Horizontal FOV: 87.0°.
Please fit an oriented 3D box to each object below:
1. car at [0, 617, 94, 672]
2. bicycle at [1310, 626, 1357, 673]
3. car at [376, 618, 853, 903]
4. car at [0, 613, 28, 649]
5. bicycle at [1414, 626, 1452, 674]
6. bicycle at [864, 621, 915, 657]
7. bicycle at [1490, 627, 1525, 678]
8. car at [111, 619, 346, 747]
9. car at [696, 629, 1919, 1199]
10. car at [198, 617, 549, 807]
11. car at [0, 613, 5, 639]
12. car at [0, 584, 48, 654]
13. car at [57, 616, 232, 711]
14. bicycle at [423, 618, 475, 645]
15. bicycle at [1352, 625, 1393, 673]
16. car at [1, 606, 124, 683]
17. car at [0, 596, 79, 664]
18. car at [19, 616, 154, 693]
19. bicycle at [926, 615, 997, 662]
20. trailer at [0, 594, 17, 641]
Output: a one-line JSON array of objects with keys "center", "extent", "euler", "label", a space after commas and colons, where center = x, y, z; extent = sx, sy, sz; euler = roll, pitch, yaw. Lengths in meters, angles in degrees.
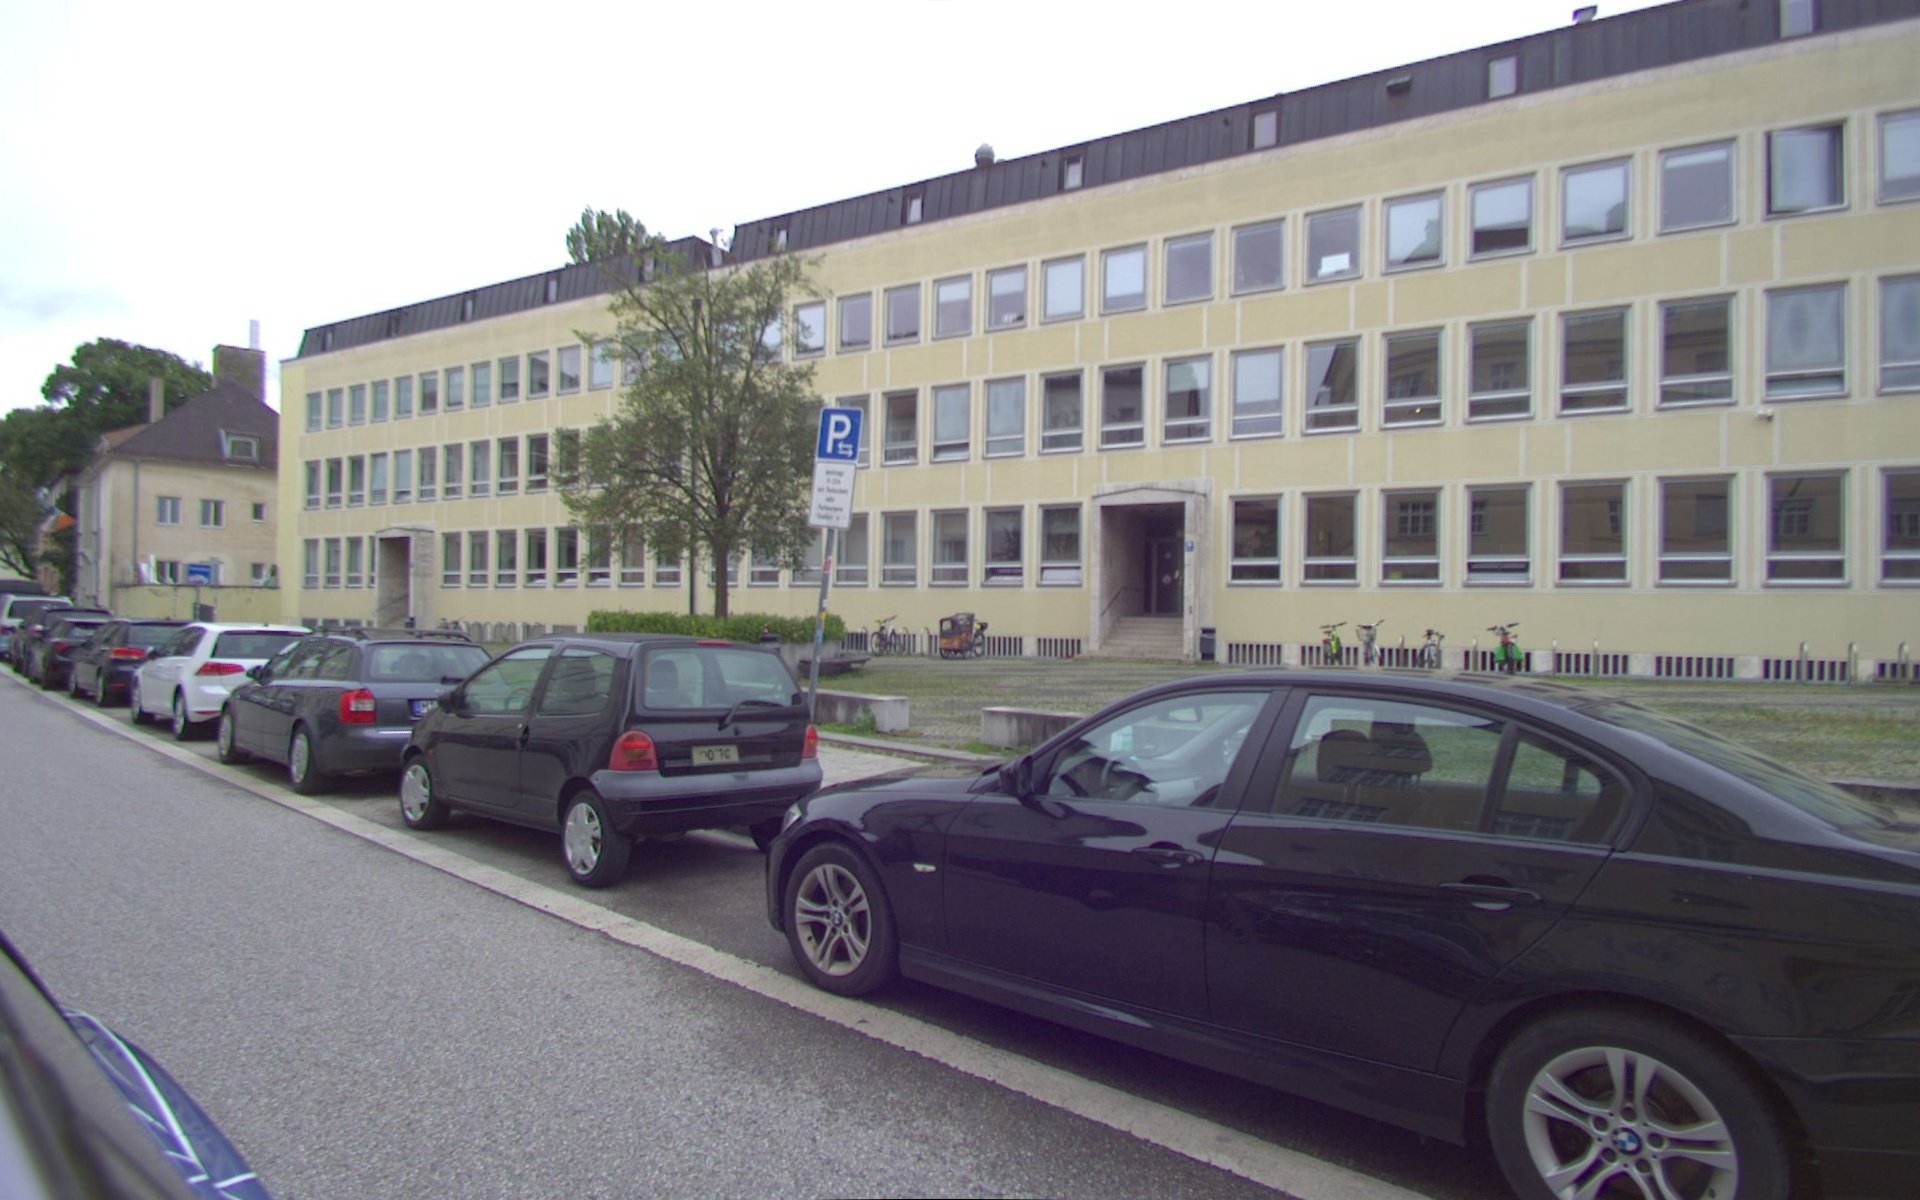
[{"center": [-25.847, 1.198, 28.591], "extent": [3.919, 1.398, 1.724], "euler": [-1, -1, 44], "label": "car"}, {"center": [8.642, 1.128, 23.360], "extent": [0.624, 1.022, 1.931], "euler": [-1, -1, 33], "label": "bicycle"}, {"center": [-2.491, 0.892, 7.001], "extent": [3.310, 1.465, 1.639], "euler": [-1, -3, 41], "label": "car"}, {"center": [-42.415, 1.353, 44.457], "extent": [3.486, 1.505, 1.684], "euler": [0, -1, 39], "label": "car"}, {"center": [10.640, 1.097, 22.730], "extent": [0.623, 1.022, 1.933], "euler": [-1, -1, 29], "label": "bicycle"}, {"center": [-2.086, 1.139, 30.195], "extent": [0.622, 1.022, 1.935], "euler": [0, -1, 26], "label": "bicycle"}, {"center": [11.798, 1.098, 21.800], "extent": [0.623, 1.022, 1.933], "euler": [-1, -1, 29], "label": "bicycle"}, {"center": [-9.982, 1.023, 13.704], "extent": [4.070, 1.465, 1.639], "euler": [-1, -3, 41], "label": "car"}, {"center": [1.141, 0.868, 3.830], "extent": [4.449, 1.416, 1.782], "euler": [0, -3, 38], "label": "car"}, {"center": [-5.948, 0.934, 10.023], "extent": [4.395, 1.465, 1.736], "euler": [-1, -3, 43], "label": "car"}, {"center": [-57.970, 1.498, 60.025], "extent": [3.844, 1.525, 1.743], "euler": [0, -2, 45], "label": "car"}, {"center": [-38.689, 0.766, 40.986], "extent": [2.270, 2.666, 5.657], "euler": [3, -3, -45], "label": "car"}, {"center": [-14.326, 1.051, 17.713], "extent": [3.972, 1.465, 1.639], "euler": [-1, -3, 41], "label": "car"}, {"center": [-20.600, 1.240, 40.847], "extent": [0.578, 1.022, 1.936], "euler": [0, 0, 26], "label": "bicycle"}, {"center": [9.418, 1.100, 23.066], "extent": [0.623, 1.022, 1.933], "euler": [-1, -1, 29], "label": "bicycle"}, {"center": [-21.940, 1.059, 24.684], "extent": [4.449, 1.679, 1.724], "euler": [-1, -5, 43], "label": "car"}, {"center": [-29.389, 0.906, 31.755], "extent": [5.020, 1.994, 1.908], "euler": [0, -2, 41], "label": "car"}, {"center": [-18.259, 1.091, 21.098], "extent": [3.870, 1.465, 1.662], "euler": [-1, -3, 43], "label": "car"}, {"center": [0.065, 1.058, 28.679], "extent": [1.051, 1.258, 2.420], "euler": [0, -1, 26], "label": "bicycle"}, {"center": [-53.956, 0.931, 56.334], "extent": [1.791, 2.555, 3.393], "euler": [6, -4, -41], "label": "trailer"}]
